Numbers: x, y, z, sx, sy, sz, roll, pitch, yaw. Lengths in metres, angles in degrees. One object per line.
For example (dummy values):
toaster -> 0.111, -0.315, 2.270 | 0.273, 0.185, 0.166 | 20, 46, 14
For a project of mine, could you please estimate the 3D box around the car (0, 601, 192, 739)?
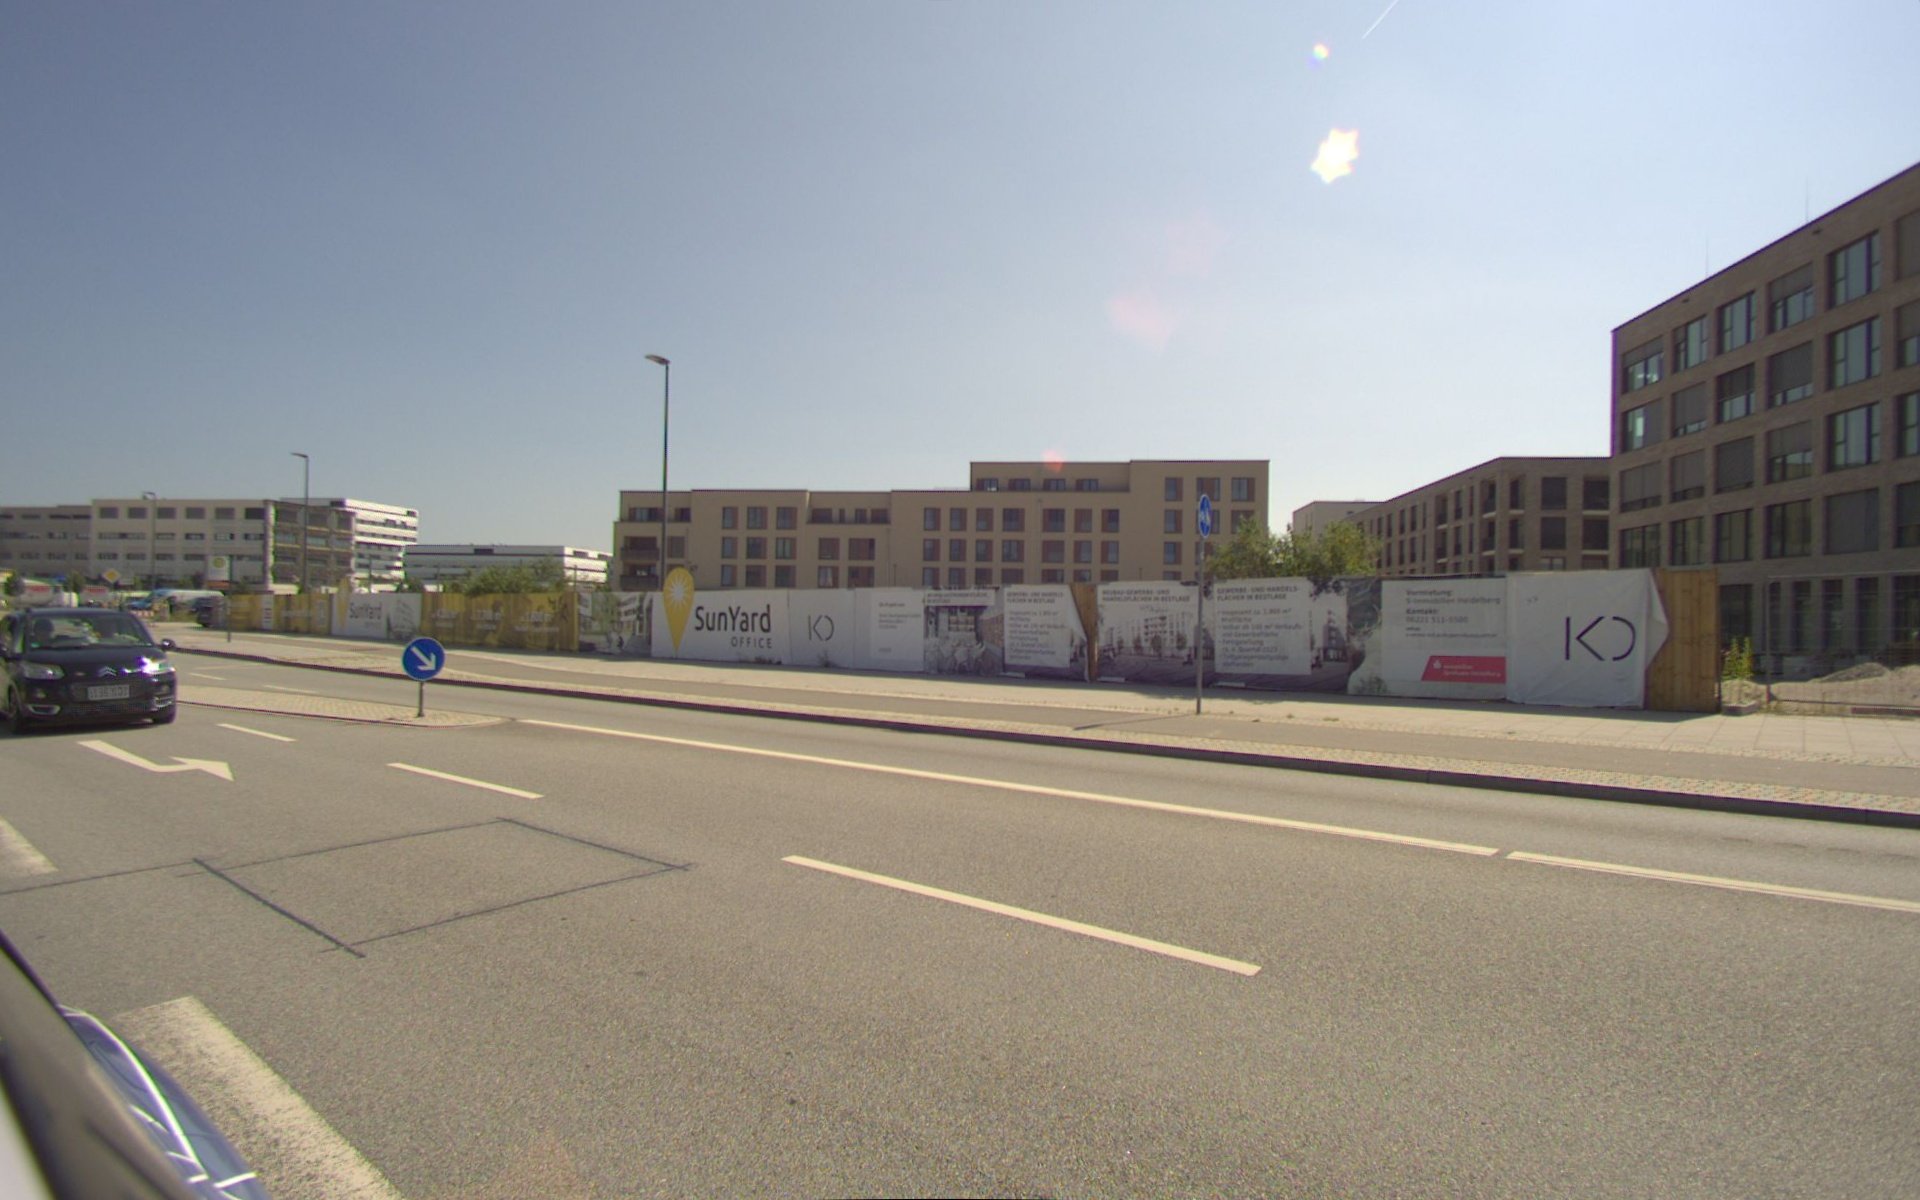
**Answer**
car -> -12.211, 0.843, 13.979 | 3.914, 1.634, 1.785 | 0, 0, 41

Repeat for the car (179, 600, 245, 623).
car -> -59.569, 0.877, 80.621 | 1.888, 1.731, 3.884 | 0, 0, 35

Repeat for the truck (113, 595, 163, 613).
truck -> -119.517, 0.619, 147.124 | 1.998, 2.494, 5.346 | 0, 0, 38

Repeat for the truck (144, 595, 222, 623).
truck -> -66.599, 0.729, 86.792 | 1.998, 2.245, 4.942 | 0, 0, 39

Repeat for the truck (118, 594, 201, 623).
truck -> -72.263, 0.717, 91.481 | 1.996, 2.494, 5.567 | 0, 0, 36

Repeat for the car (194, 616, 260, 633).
car -> -47.749, 1.583, 65.956 | 1.293, 0.960, 3.315 | 0, 0, 43

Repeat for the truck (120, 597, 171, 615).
truck -> -113.866, 0.798, 141.537 | 1.996, 2.494, 5.270 | 0, 0, 36
